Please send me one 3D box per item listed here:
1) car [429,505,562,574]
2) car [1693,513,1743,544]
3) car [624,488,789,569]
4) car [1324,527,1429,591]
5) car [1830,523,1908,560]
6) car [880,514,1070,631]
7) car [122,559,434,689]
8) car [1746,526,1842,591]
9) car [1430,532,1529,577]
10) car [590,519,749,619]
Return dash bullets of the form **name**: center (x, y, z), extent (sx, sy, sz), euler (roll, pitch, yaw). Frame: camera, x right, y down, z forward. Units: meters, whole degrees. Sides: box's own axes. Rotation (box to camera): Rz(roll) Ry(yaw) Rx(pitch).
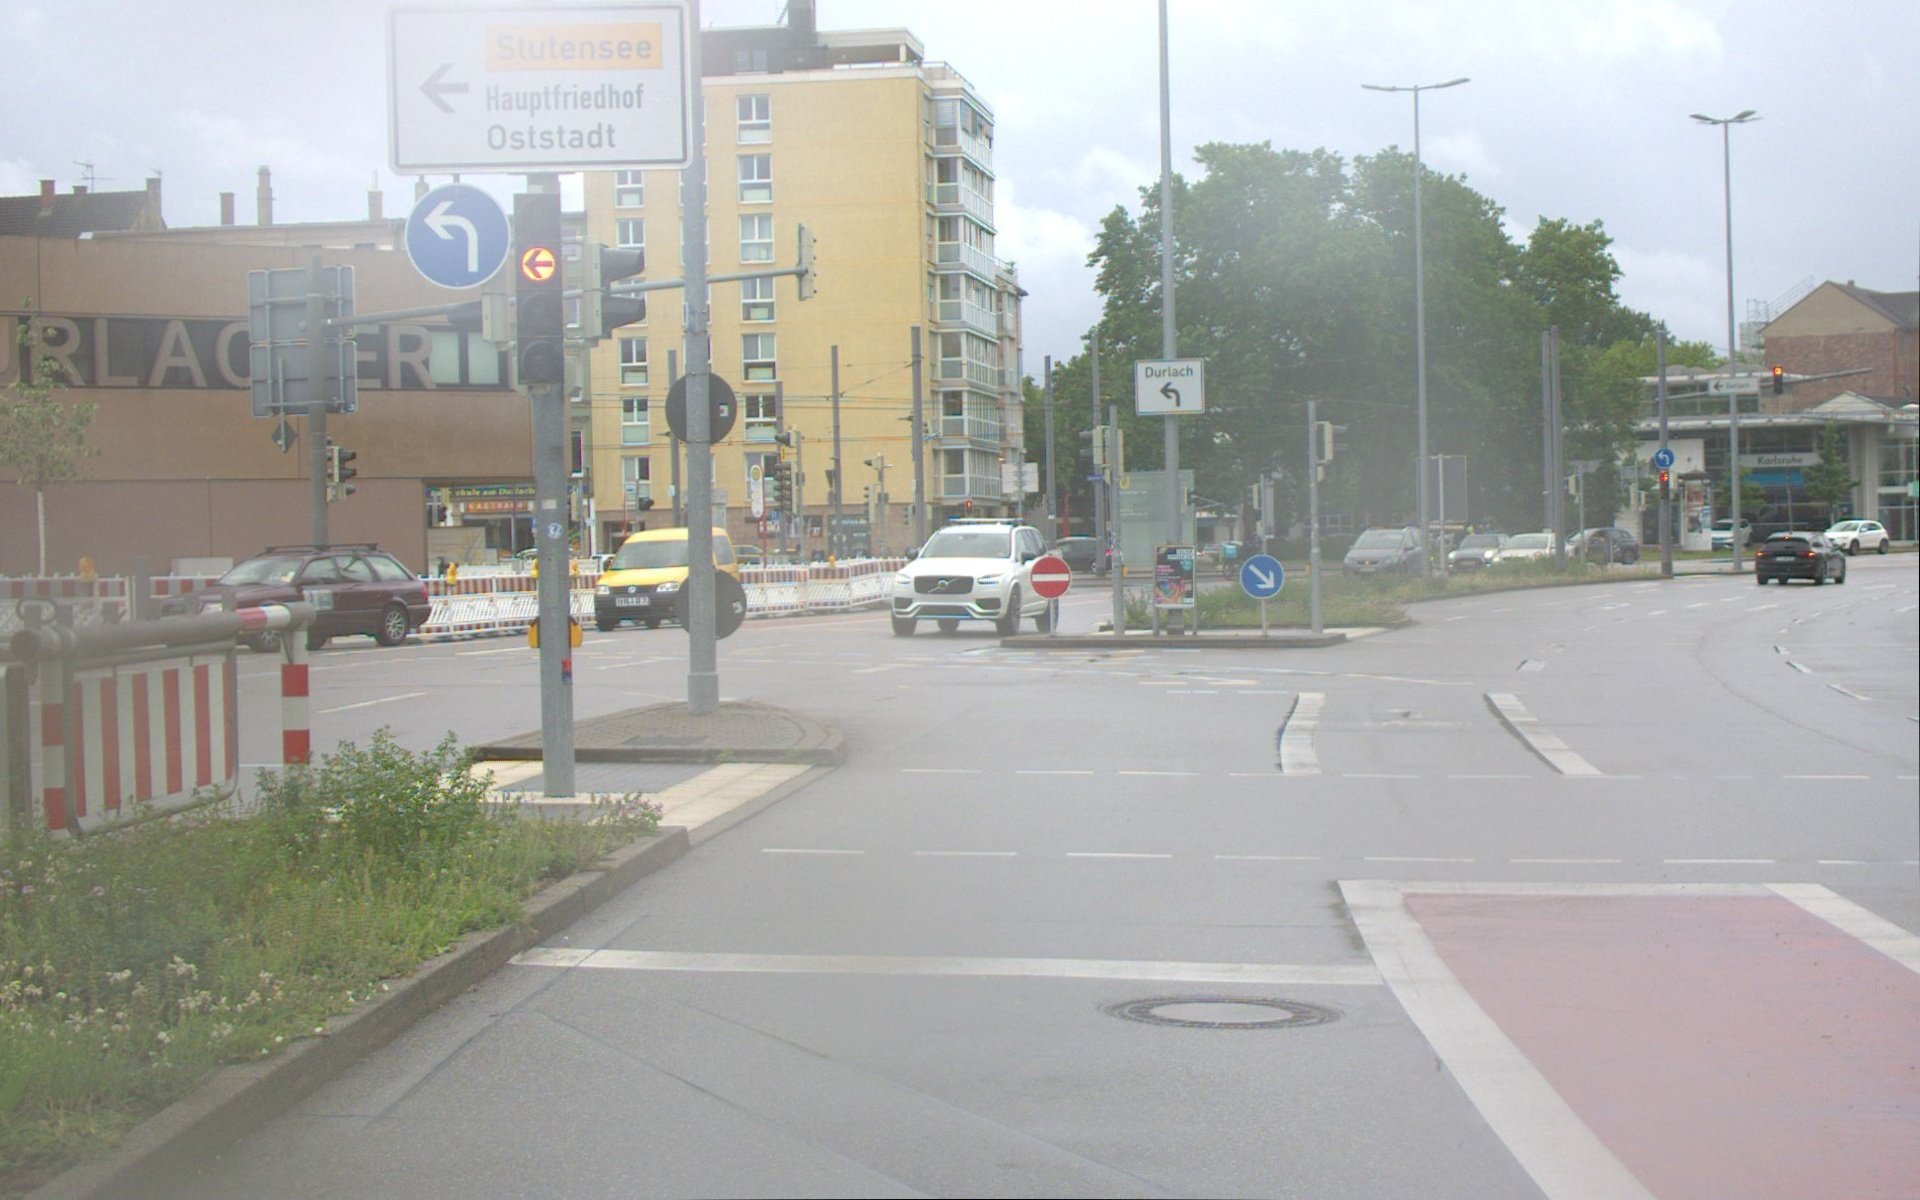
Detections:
- **car**: center (-20.326, -2.652, 150.567), extent (5.351, 2.877, 2.339), euler (-1, 1, 5)
- **car**: center (42.338, -4.000, 191.877), extent (1.792, 1.637, 4.154), euler (0, 1, 26)
- **car**: center (-10.993, -3.117, 149.457), extent (6.742, 3.368, 2.809), euler (-1, 1, 5)
- **car**: center (12.579, -1.246, 103.708), extent (1.696, 1.684, 4.178), euler (-1, 3, 28)
- **car**: center (41.515, -2.676, 156.931), extent (1.794, 1.637, 4.387), euler (0, 2, 39)
- **car**: center (0.304, -0.485, 55.377), extent (1.827, 1.676, 5.163), euler (-3, 1, 14)
- **car**: center (-9.725, 0.307, 49.344), extent (1.709, 1.700, 4.452), euler (0, 1, 34)
- **car**: center (22.676, -1.144, 93.385), extent (1.792, 1.637, 4.154), euler (-1, 1, 24)
- **car**: center (17.308, -1.528, 114.514), extent (1.775, 1.371, 4.113), euler (0, 2, 32)
- **car**: center (-5.198, -0.588, 62.099), extent (1.706, 1.700, 4.151), euler (-1, 1, 12)
